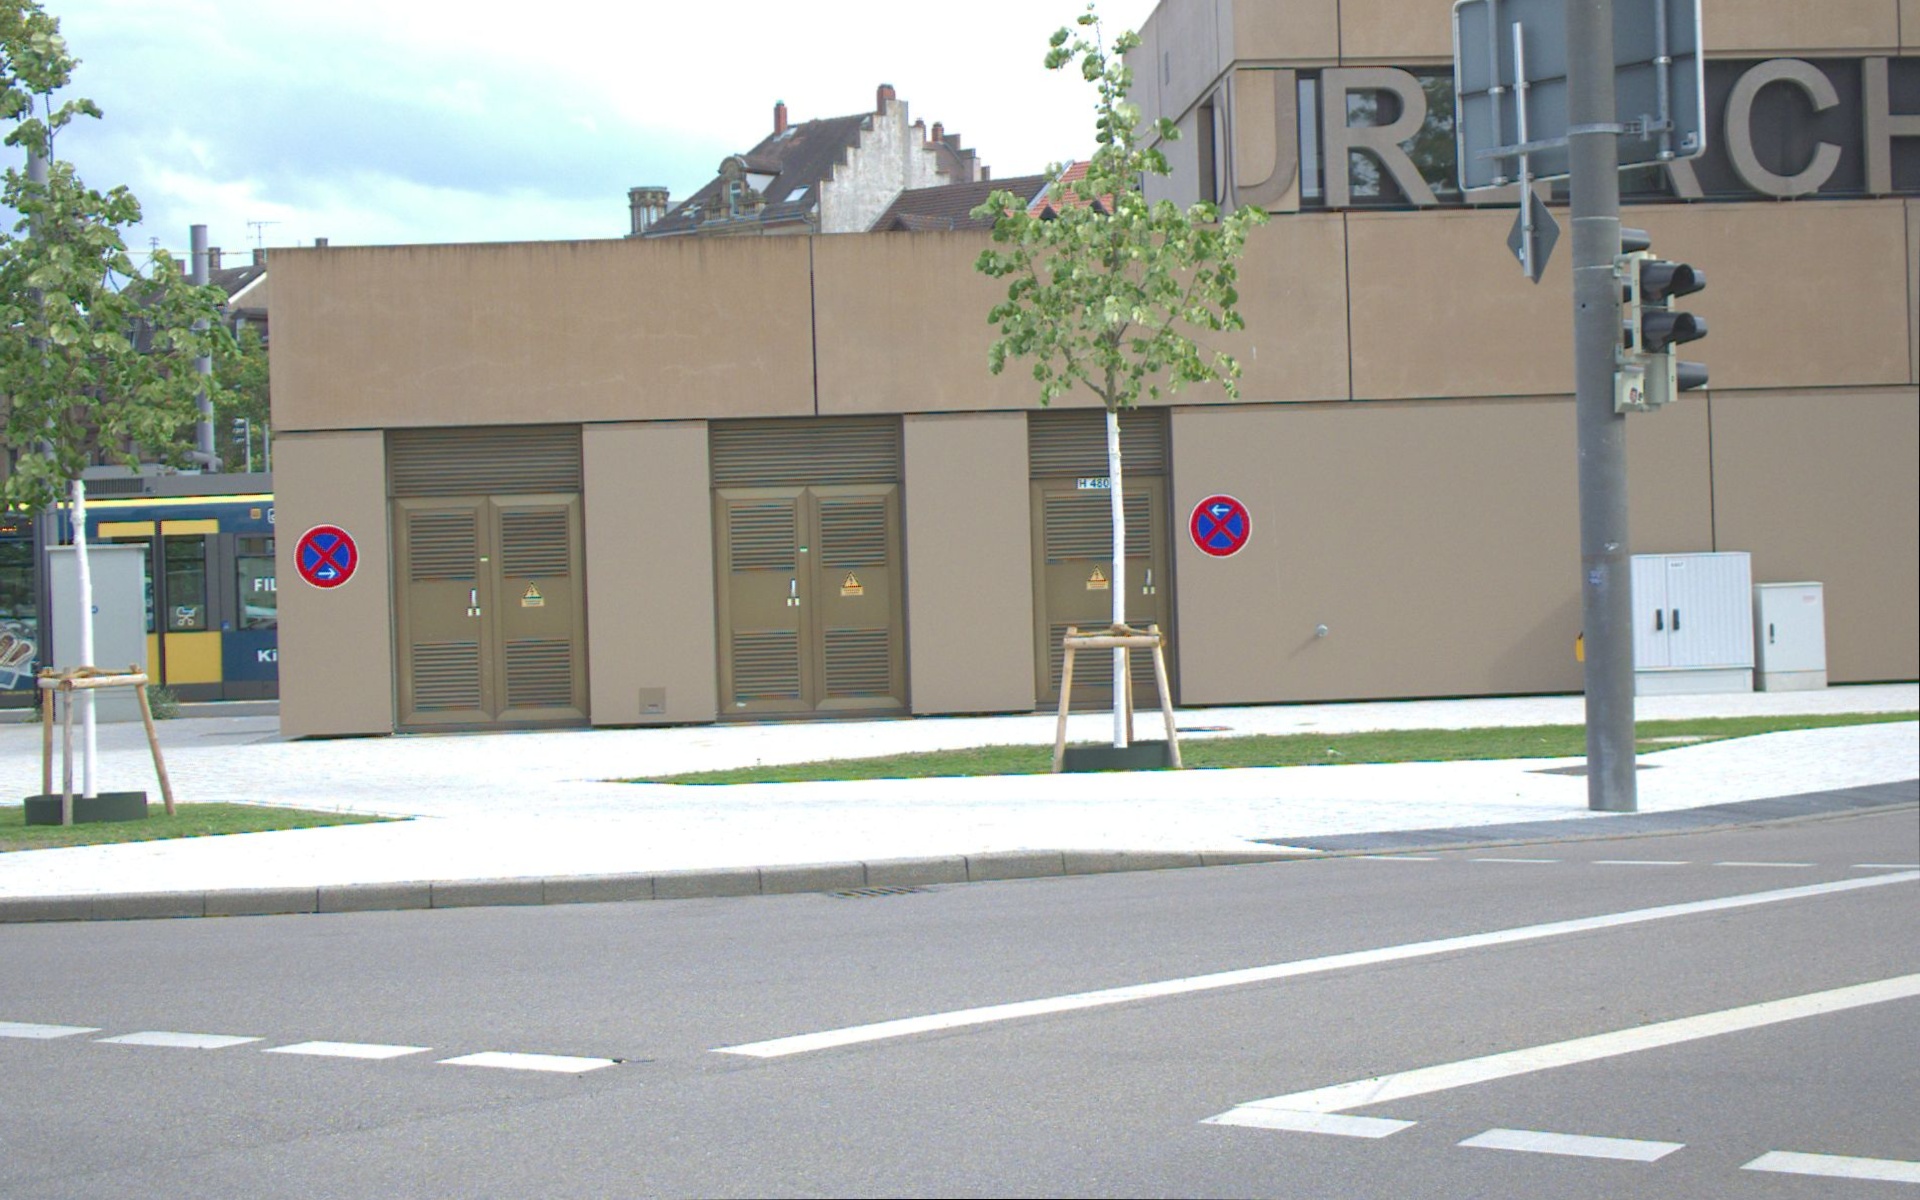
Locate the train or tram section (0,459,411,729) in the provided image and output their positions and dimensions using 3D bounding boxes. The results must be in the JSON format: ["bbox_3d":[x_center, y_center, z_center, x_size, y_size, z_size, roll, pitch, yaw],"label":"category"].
[{"bbox_3d":[-12.393,-0.119,45.428,9.896,3.438,3.063,0,1,-4],"label":"train or tram section"}]
